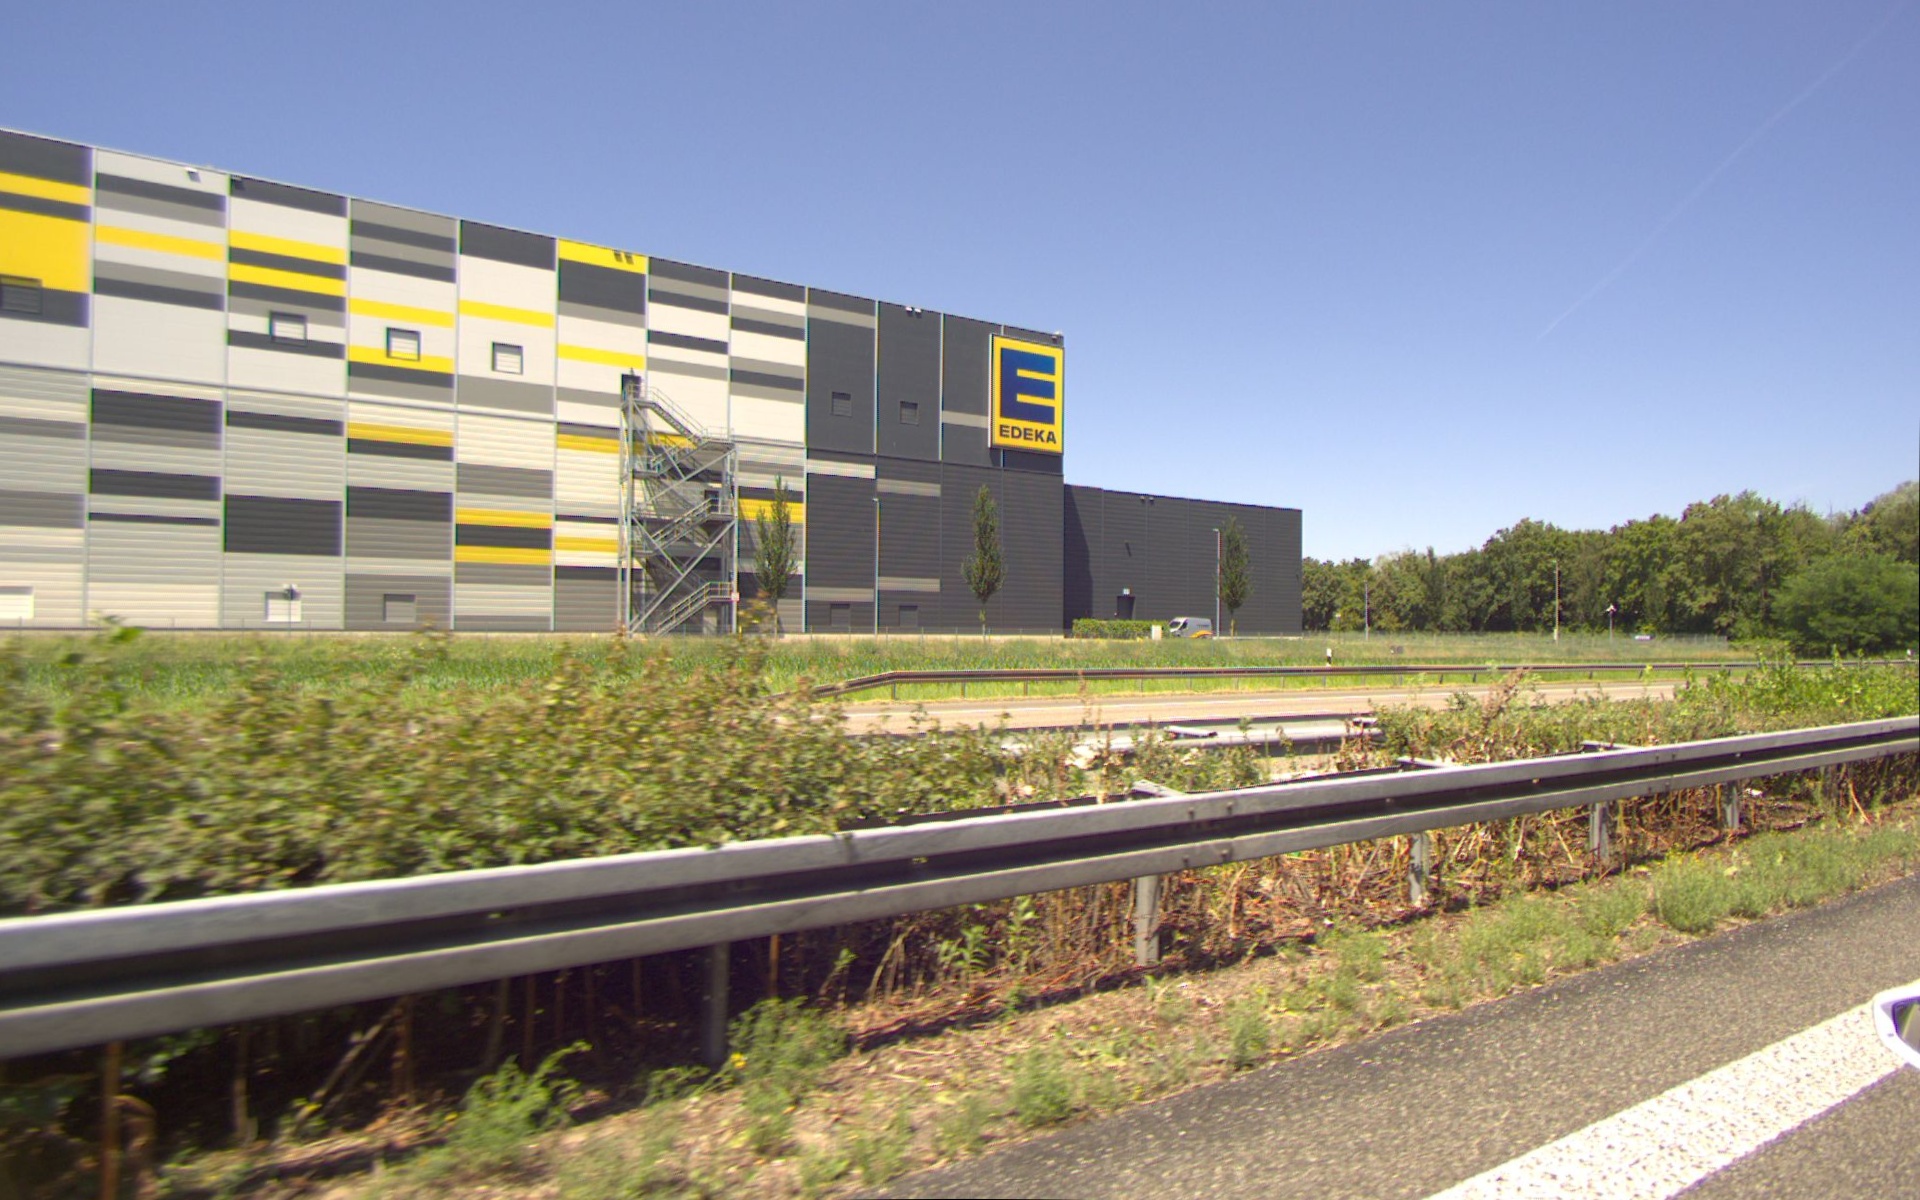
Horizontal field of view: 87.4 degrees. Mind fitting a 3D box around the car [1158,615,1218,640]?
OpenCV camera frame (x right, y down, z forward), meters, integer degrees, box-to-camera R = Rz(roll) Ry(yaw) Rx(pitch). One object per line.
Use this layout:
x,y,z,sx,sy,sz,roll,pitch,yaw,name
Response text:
23.638,2.852,104.162,6.102,2.488,2.386,2,-2,-31,car
